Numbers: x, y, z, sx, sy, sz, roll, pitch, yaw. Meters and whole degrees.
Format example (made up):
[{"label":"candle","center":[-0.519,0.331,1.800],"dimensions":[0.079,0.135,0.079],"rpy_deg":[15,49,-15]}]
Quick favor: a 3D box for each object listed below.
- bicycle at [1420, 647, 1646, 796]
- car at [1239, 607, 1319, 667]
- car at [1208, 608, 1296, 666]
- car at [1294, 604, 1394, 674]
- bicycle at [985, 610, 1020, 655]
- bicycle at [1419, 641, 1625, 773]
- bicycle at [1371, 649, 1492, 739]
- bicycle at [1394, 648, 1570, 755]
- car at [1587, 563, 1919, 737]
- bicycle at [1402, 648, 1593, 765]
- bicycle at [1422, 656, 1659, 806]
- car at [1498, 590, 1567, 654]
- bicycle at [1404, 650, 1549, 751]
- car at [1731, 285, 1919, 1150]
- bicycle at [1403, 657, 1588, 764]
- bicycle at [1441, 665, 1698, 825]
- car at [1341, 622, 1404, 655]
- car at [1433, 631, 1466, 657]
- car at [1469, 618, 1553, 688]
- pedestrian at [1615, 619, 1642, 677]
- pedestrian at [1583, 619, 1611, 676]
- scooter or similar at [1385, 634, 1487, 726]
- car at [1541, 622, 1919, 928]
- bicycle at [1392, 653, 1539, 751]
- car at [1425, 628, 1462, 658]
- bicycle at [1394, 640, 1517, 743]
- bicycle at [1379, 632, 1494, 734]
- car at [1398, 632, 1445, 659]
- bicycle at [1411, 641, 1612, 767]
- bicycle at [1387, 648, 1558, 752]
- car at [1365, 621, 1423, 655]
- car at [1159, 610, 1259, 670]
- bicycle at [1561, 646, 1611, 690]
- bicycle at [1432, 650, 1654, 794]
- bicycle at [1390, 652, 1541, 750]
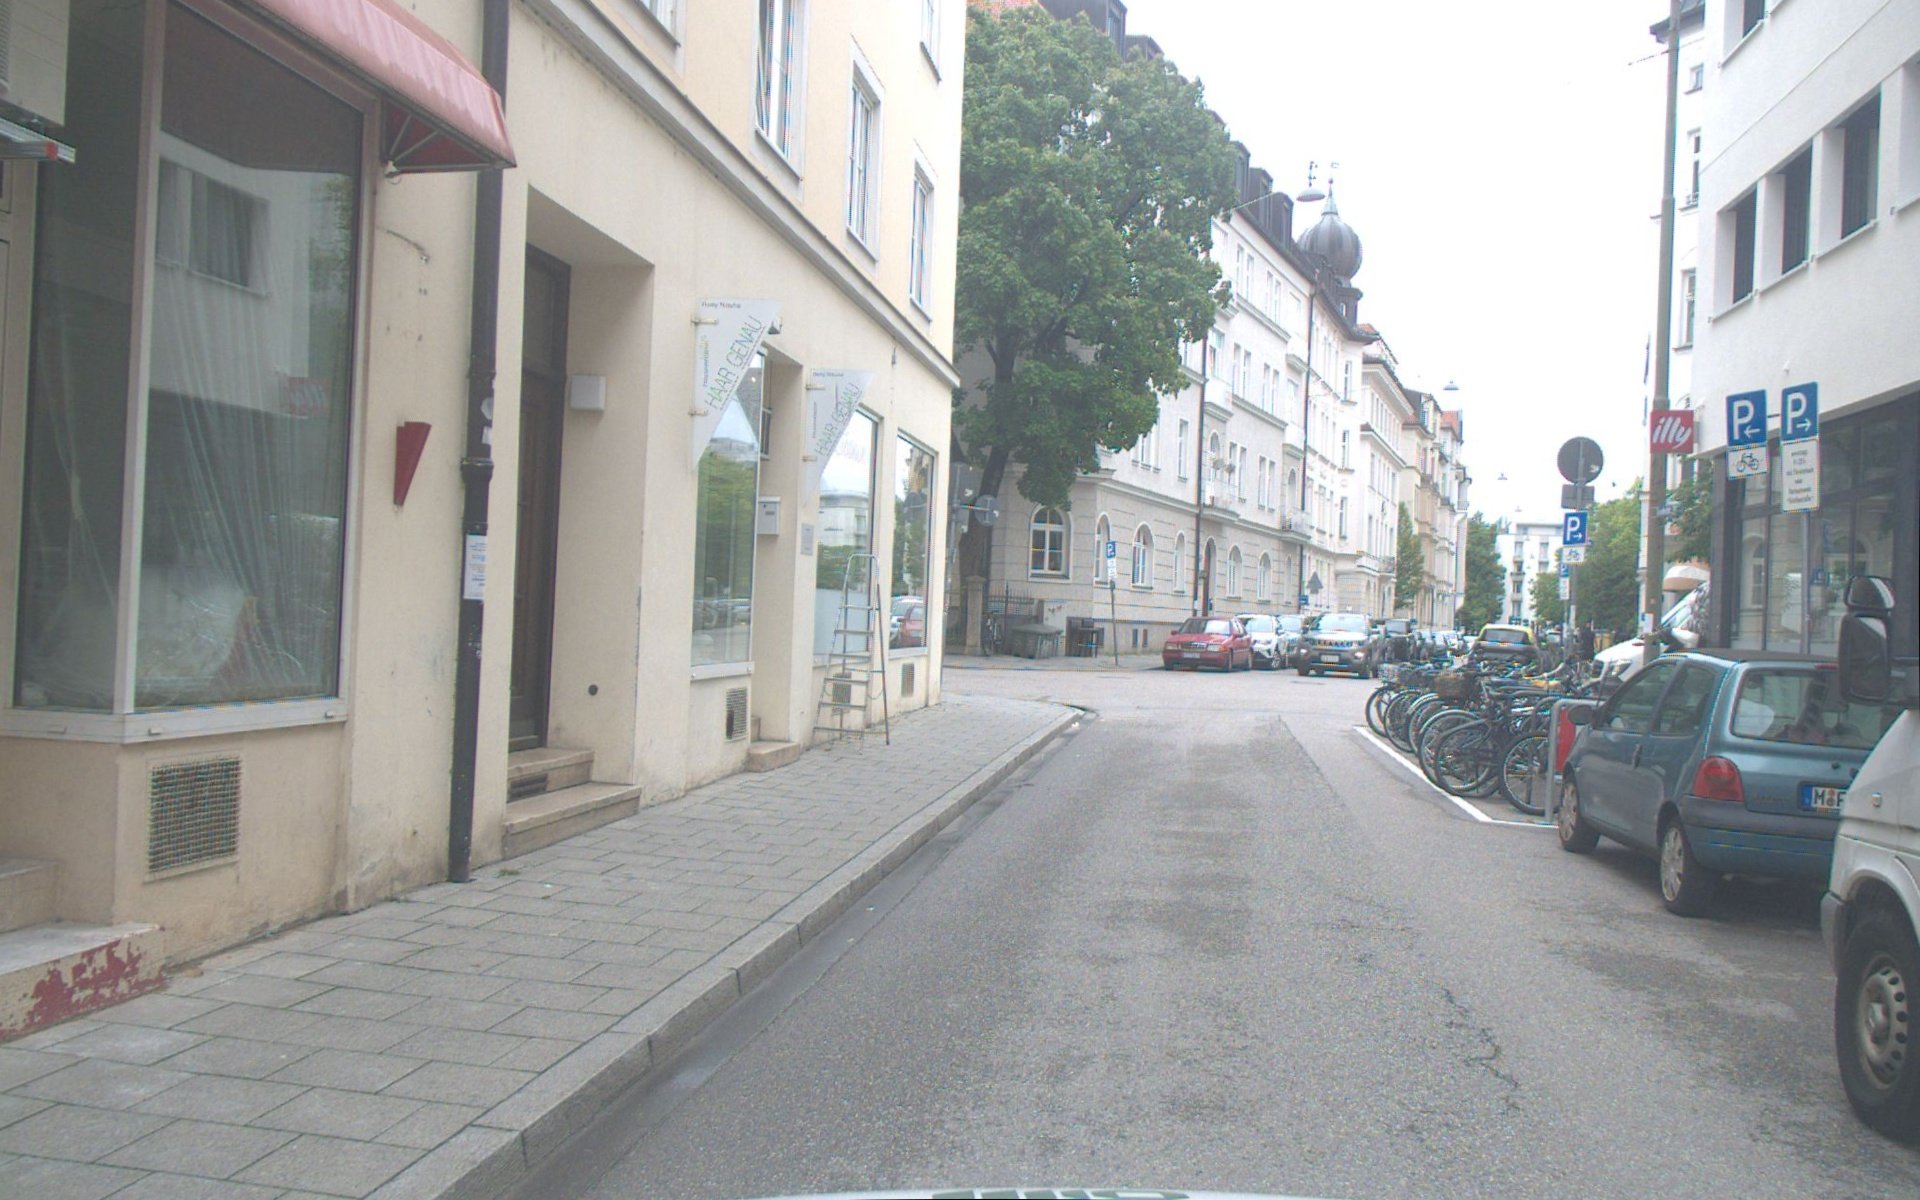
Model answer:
[{"label":"bicycle","center":[5.172,1.085,15.008],"dimensions":[1.834,1.225,0.489],"rpy_deg":[2,1,7]},{"label":"car","center":[10.114,1.166,52.262],"dimensions":[1.902,1.732,4.001],"rpy_deg":[3,0,19]},{"label":"car","center":[8.463,1.056,47.726],"dimensions":[1.952,1.499,4.220],"rpy_deg":[2,0,17]},{"label":"car","center":[10.003,0.992,42.899],"dimensions":[1.917,1.636,4.309],"rpy_deg":[2,0,21]},{"label":"bicycle","center":[1.117,0.820,42.661],"dimensions":[0.483,1.071,1.828],"rpy_deg":[2,2,14]},{"label":"bicycle","center":[5.539,1.044,16.383],"dimensions":[1.834,1.225,0.580],"rpy_deg":[1,0,7]},{"label":"bicycle","center":[6.219,1.236,21.831],"dimensions":[1.421,1.088,0.463],"rpy_deg":[3,0,1]},{"label":"bicycle","center":[5.955,1.152,18.922],"dimensions":[1.834,1.098,0.402],"rpy_deg":[2,1,6]},{"label":"car","center":[13.887,0.804,28.049],"dimensions":[5.768,2.636,2.061],"rpy_deg":[2,1,14]},{"label":"bicycle","center":[5.688,1.120,17.545],"dimensions":[1.834,1.114,0.440],"rpy_deg":[2,1,6]},{"label":"bicycle","center":[5.065,1.134,14.497],"dimensions":[1.834,1.127,0.489],"rpy_deg":[4,1,7]},{"label":"car","center":[18.899,0.750,54.514],"dimensions":[1.783,1.903,4.287],"rpy_deg":[4,0,22]},{"label":"bicycle","center":[6.167,1.195,19.779],"dimensions":[1.579,1.098,0.378],"rpy_deg":[2,1,6]},{"label":"car","center":[3.573,0.356,3.309],"dimensions":[1.880,2.549,6.001],"rpy_deg":[3,0,8]},{"label":"bicycle","center":[5.886,1.203,18.225],"dimensions":[1.834,1.070,0.564],"rpy_deg":[2,-2,5]},{"label":"bicycle","center":[4.940,1.164,13.477],"dimensions":[1.834,1.098,0.489],"rpy_deg":[4,1,7]},{"label":"car","center":[17.059,1.577,68.254],"dimensions":[1.868,1.243,3.998],"rpy_deg":[2,0,23]},{"label":"car","center":[29.506,2.654,99.632],"dimensions":[1.698,1.444,4.001],"rpy_deg":[2,0,19]},{"label":"car","center":[14.950,1.411,44.744],"dimensions":[1.783,1.664,4.287],"rpy_deg":[4,0,22]},{"label":"pedestrian","center":[22.199,1.591,54.904],"dimensions":[0.762,1.883,1.022],"rpy_deg":[2,0,23]},{"label":"pedestrian","center":[21.454,1.586,55.696],"dimensions":[0.762,1.883,1.022],"rpy_deg":[2,0,23]},{"label":"scooter or similar","center":[6.776,1.133,23.574],"dimensions":[1.324,1.231,0.418],"rpy_deg":[2,-1,11]},{"label":"car","center":[4.815,0.924,10.236],"dimensions":[1.547,1.489,3.554],"rpy_deg":[2,0,7]},{"label":"bicycle","center":[6.157,1.238,20.170],"dimensions":[1.639,1.098,0.336],"rpy_deg":[2,1,6]},{"label":"car","center":[27.502,2.419,94.020],"dimensions":[1.783,1.601,4.001],"rpy_deg":[2,0,20]},{"label":"bicycle","center":[6.384,1.174,21.348],"dimensions":[1.421,1.228,0.395],"rpy_deg":[3,0,1]},{"label":"bicycle","center":[6.556,1.138,22.802],"dimensions":[1.426,1.307,0.445],"rpy_deg":[3,0,10]},{"label":"car","center":[23.260,2.273,83.247],"dimensions":[1.867,1.243,4.000],"rpy_deg":[2,0,21]},{"label":"bicycle","center":[5.644,1.055,17.003],"dimensions":[1.853,1.190,0.566],"rpy_deg":[2,0,6]},{"label":"bicycle","center":[5.986,1.166,19.362],"dimensions":[1.834,1.098,0.408],"rpy_deg":[2,1,6]},{"label":"car","center":[18.983,1.640,72.244],"dimensions":[1.868,1.352,3.998],"rpy_deg":[2,0,23]},{"label":"car","center":[6.532,1.031,43.102],"dimensions":[1.695,1.402,4.227],"rpy_deg":[2,0,20]},{"label":"bicycle","center":[15.349,1.658,40.606],"dimensions":[0.528,1.016,1.755],"rpy_deg":[-1,0,-1]},{"label":"bicycle","center":[5.490,1.141,15.648],"dimensions":[1.834,1.177,0.565],"rpy_deg":[4,1,7]},{"label":"bicycle","center":[6.274,1.246,20.571],"dimensions":[1.703,1.098,0.452],"rpy_deg":[2,1,6]}]
